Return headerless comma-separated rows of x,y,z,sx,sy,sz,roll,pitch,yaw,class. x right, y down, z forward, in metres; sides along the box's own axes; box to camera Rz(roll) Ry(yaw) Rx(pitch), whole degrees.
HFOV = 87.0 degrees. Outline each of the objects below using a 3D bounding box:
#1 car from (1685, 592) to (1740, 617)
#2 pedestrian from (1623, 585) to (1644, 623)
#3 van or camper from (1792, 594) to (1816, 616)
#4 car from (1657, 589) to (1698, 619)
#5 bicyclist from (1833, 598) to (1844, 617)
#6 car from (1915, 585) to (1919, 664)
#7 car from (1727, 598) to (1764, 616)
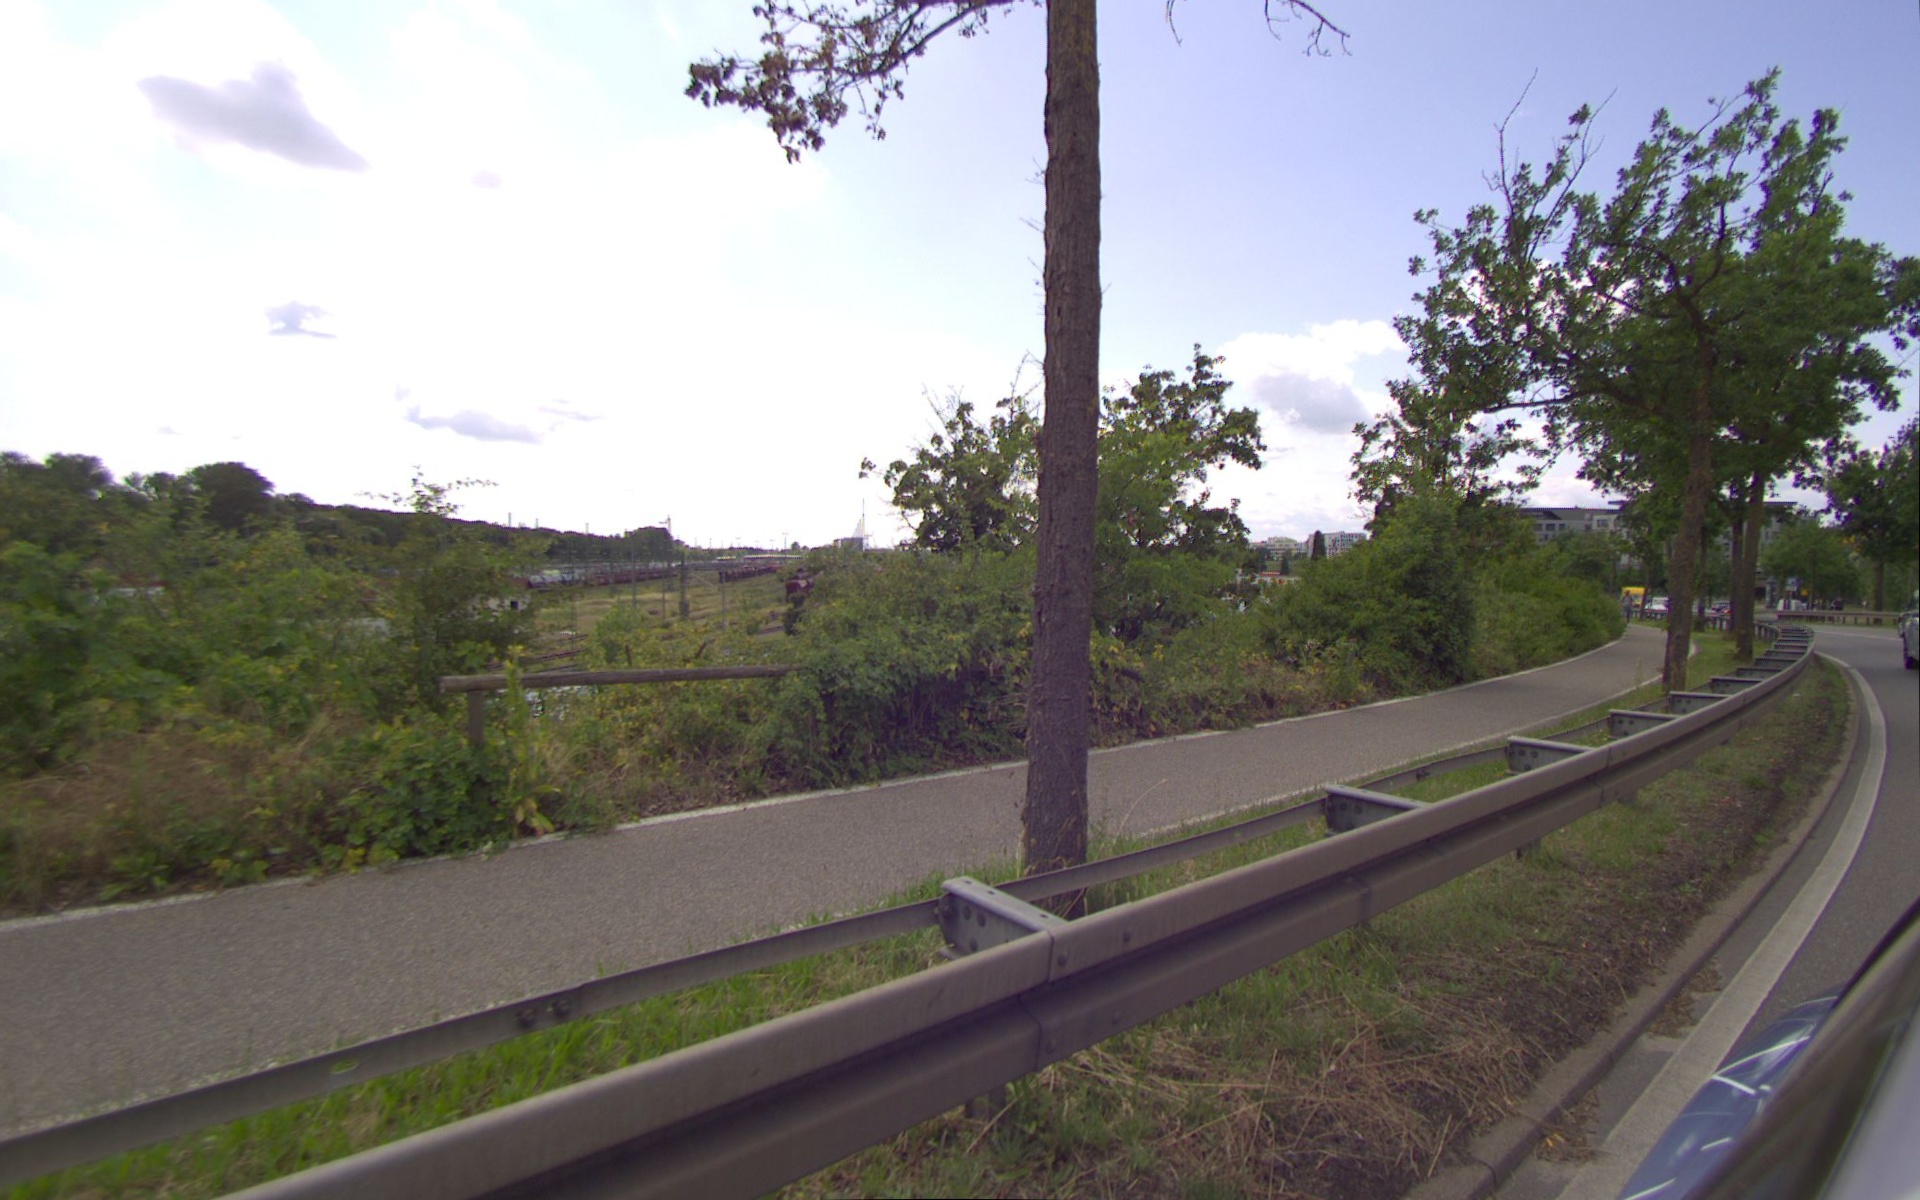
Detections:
44.332,0.245,59.675,1.831,1.222,3.965,4,4,26,car
30.055,0.186,45.163,0.653,1.662,1.043,2,1,29,pedestrian
110.200,0.676,132.171,1.994,2.613,5.887,5,2,43,van or camper
53.825,0.254,75.972,1.985,2.038,3.957,5,3,30,car
73.519,0.601,84.679,0.482,1.572,0.871,2,1,29,bicyclist
18.917,0.493,18.533,1.820,1.544,3.942,0,1,40,car
54.961,0.509,70.888,1.585,1.233,3.748,-1,-1,31,car
